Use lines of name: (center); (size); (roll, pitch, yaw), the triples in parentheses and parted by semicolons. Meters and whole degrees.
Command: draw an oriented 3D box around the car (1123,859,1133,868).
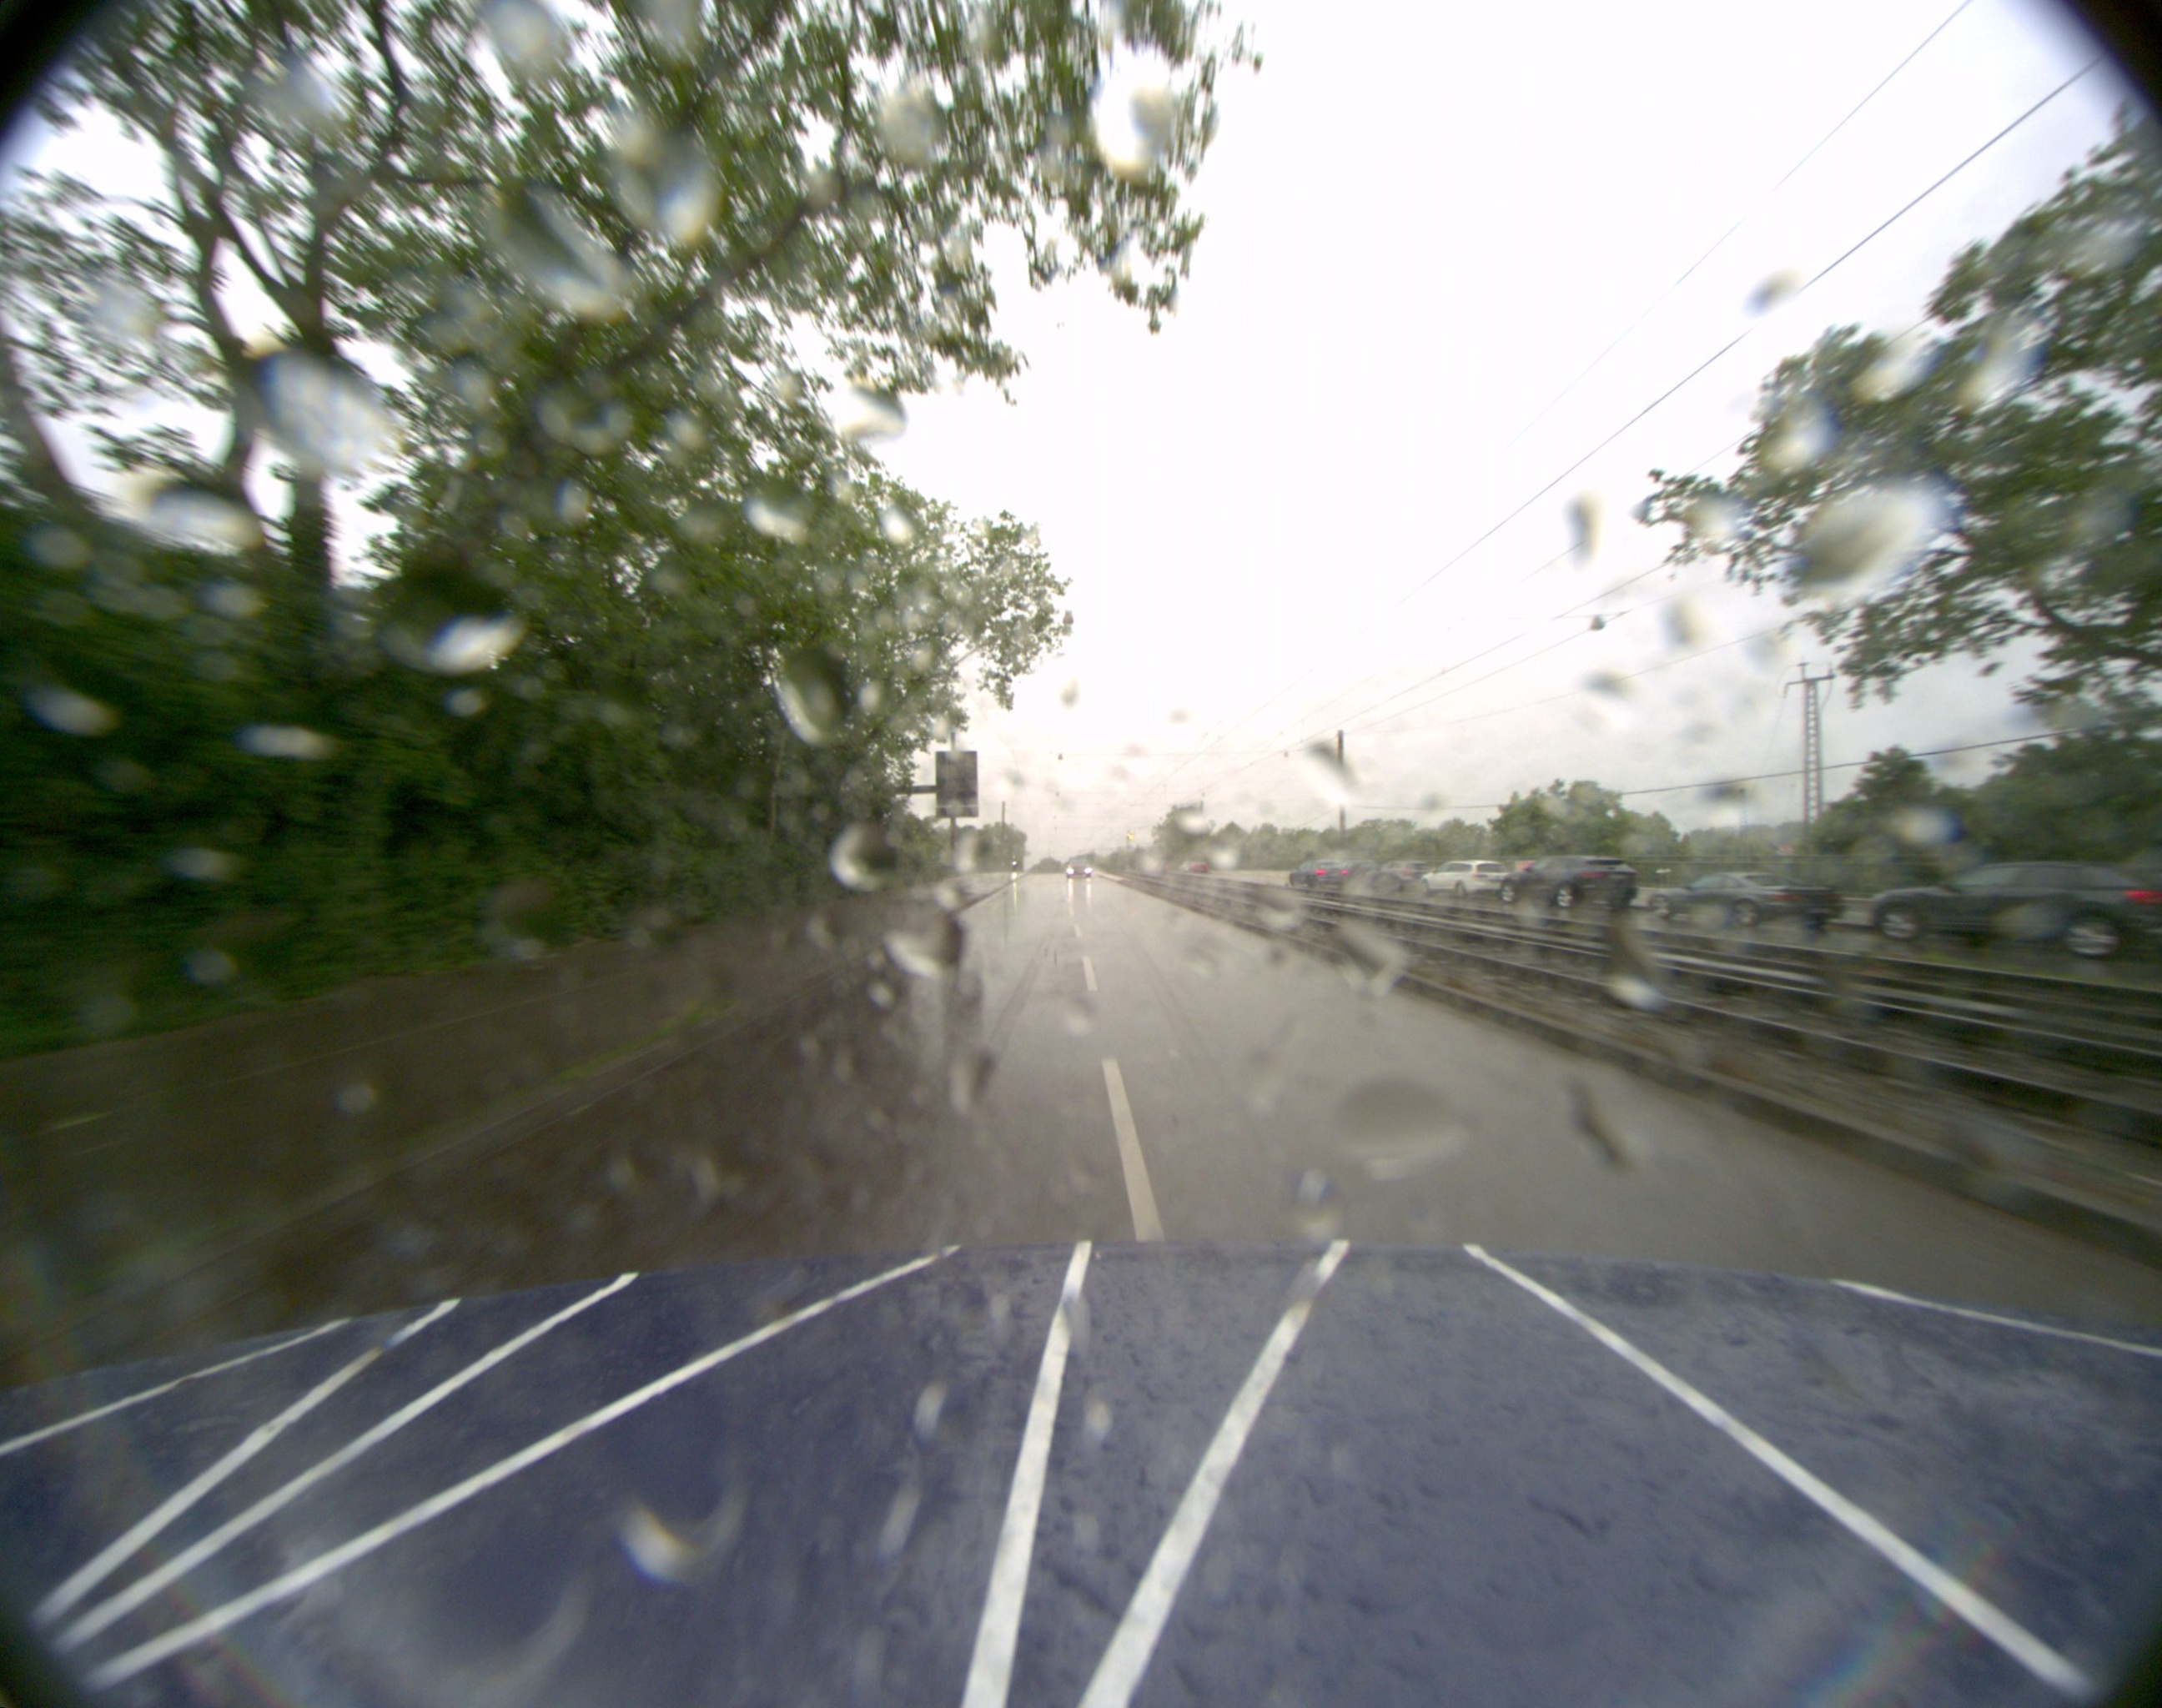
car: (10.469, 2.085, 168.984); (1.998, 1.706, 3.999); (-2, 1, 0)

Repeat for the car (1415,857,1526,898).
car: (15.545, 0.878, 30.635); (1.891, 1.502, 4.577); (0, 0, -3)

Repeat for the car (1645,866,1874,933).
car: (16.072, 1.004, 18.329); (1.891, 1.371, 3.964); (0, 0, -3)

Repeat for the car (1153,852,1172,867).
car: (10.289, 0.676, 96.125); (1.999, 1.706, 3.999); (-2, 1, -1)

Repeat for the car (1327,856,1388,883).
car: (15.299, 0.839, 42.251); (1.653, 1.423, 3.924); (0, 0, -6)

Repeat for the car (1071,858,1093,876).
car: (0.029, 1.065, 62.573); (1.727, 1.425, 3.851); (-1, 0, 0)

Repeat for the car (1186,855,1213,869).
car: (13.736, 0.906, 88.376); (2.039, 1.458, 4.917); (-1, 0, -4)

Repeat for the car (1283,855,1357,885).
car: (12.392, 0.771, 39.769); (2.039, 1.458, 4.916); (0, 0, -4)

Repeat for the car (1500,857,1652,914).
car: (15.727, 0.936, 24.450); (1.891, 1.640, 4.368); (0, 0, -3)

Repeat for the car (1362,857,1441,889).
car: (15.345, 0.869, 36.623); (1.653, 1.423, 4.130); (0, 0, -7)

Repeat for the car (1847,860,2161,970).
car: (16.353, 0.901, 12.944); (2.039, 1.543, 4.383); (0, 0, -4)
